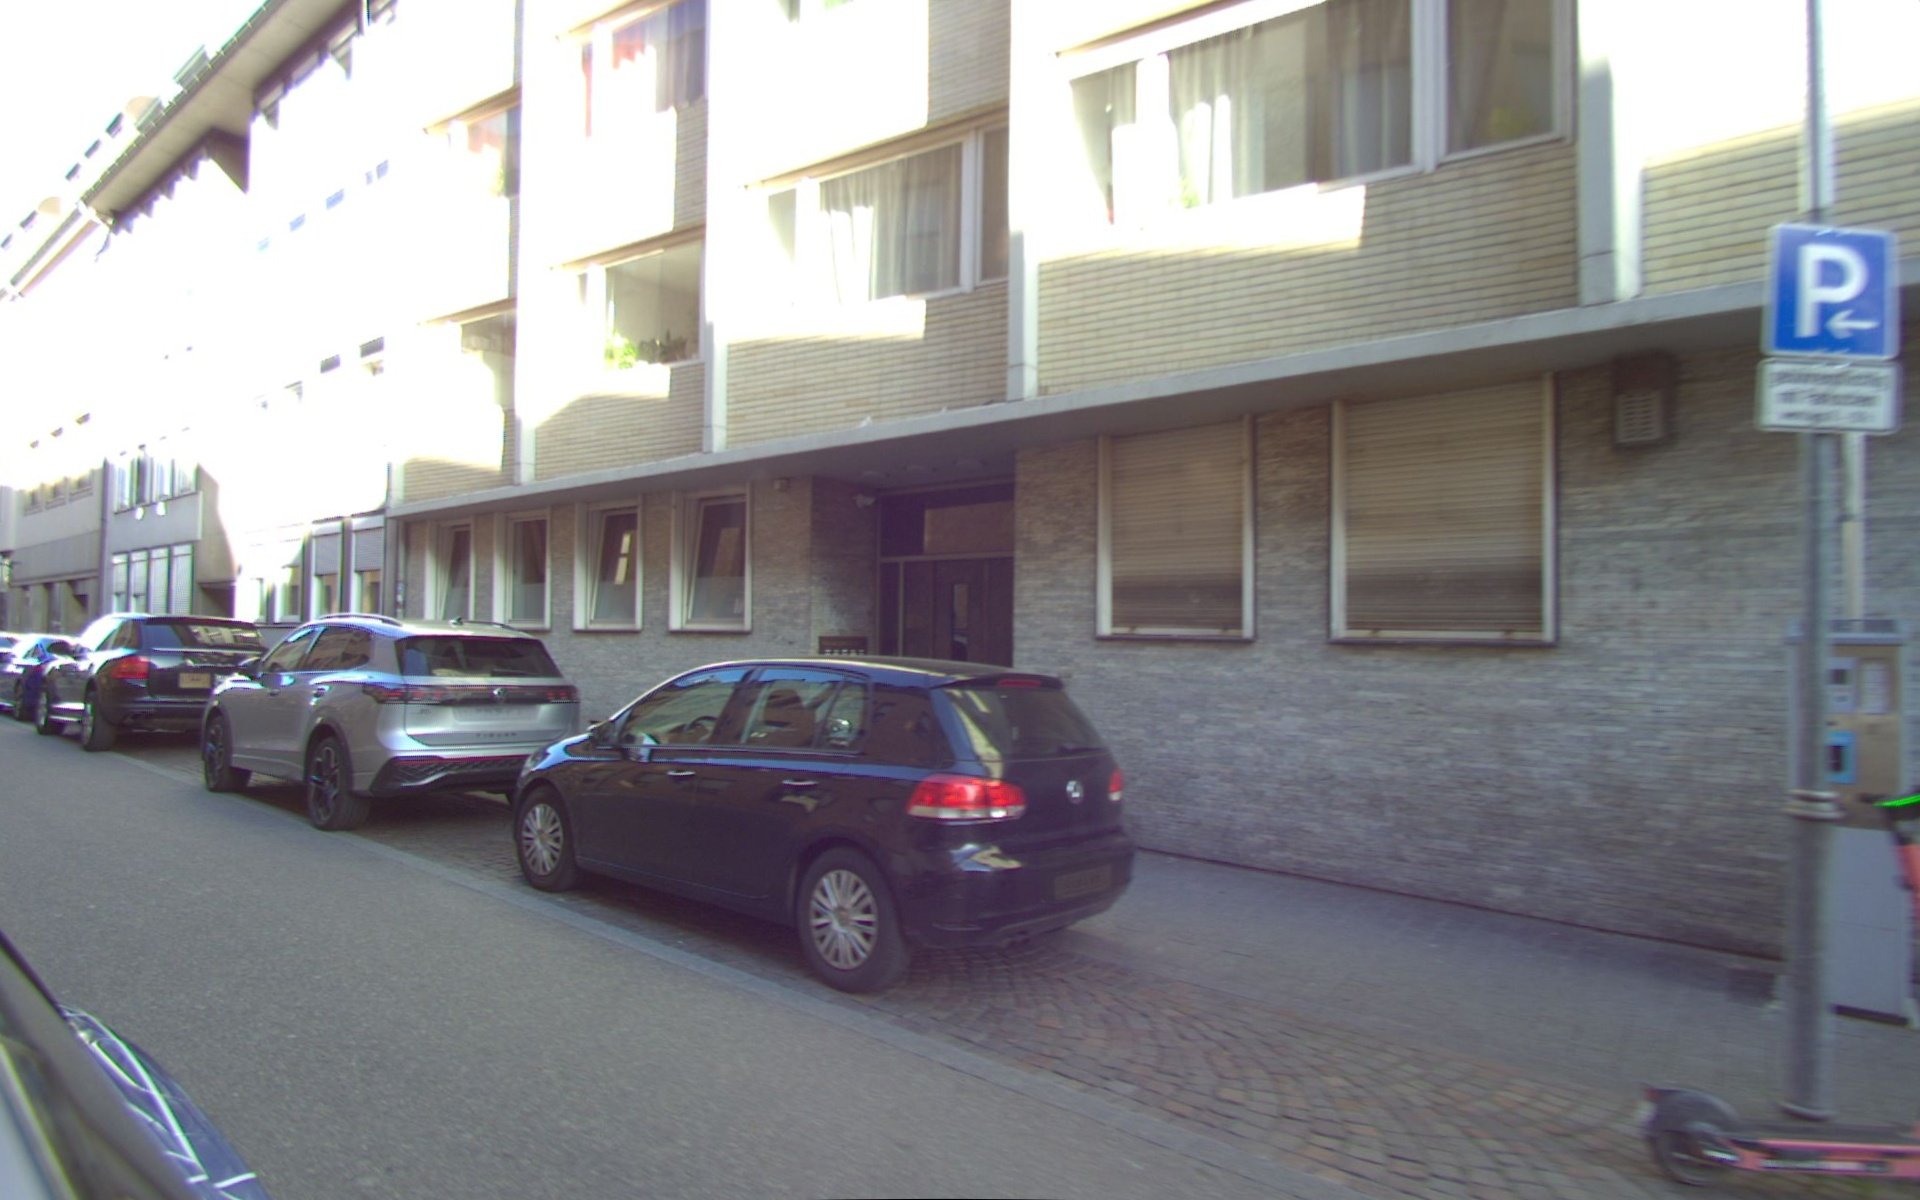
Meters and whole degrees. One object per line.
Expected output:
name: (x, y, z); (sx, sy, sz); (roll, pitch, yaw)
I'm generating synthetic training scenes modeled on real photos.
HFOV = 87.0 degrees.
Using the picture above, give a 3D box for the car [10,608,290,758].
car: (-10.941, 1.060, 13.556); (4.548, 1.688, 1.871); (-2, -6, 39)

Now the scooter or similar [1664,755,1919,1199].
scooter or similar: (2.773, 1.098, 2.931); (1.109, 1.207, 0.412); (0, -3, 11)

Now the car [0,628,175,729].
car: (-15.528, 1.287, 17.582); (4.332, 1.542, 1.872); (-2, -3, 37)

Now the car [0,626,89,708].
car: (-20.286, 1.363, 21.358); (4.722, 1.541, 1.872); (-1, -7, 38)

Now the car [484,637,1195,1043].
car: (-0.885, 1.000, 5.700); (3.995, 1.472, 1.632); (-1, -5, 40)

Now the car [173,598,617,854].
car: (-5.179, 0.952, 9.054); (4.384, 1.755, 1.872); (-2, -4, 38)
